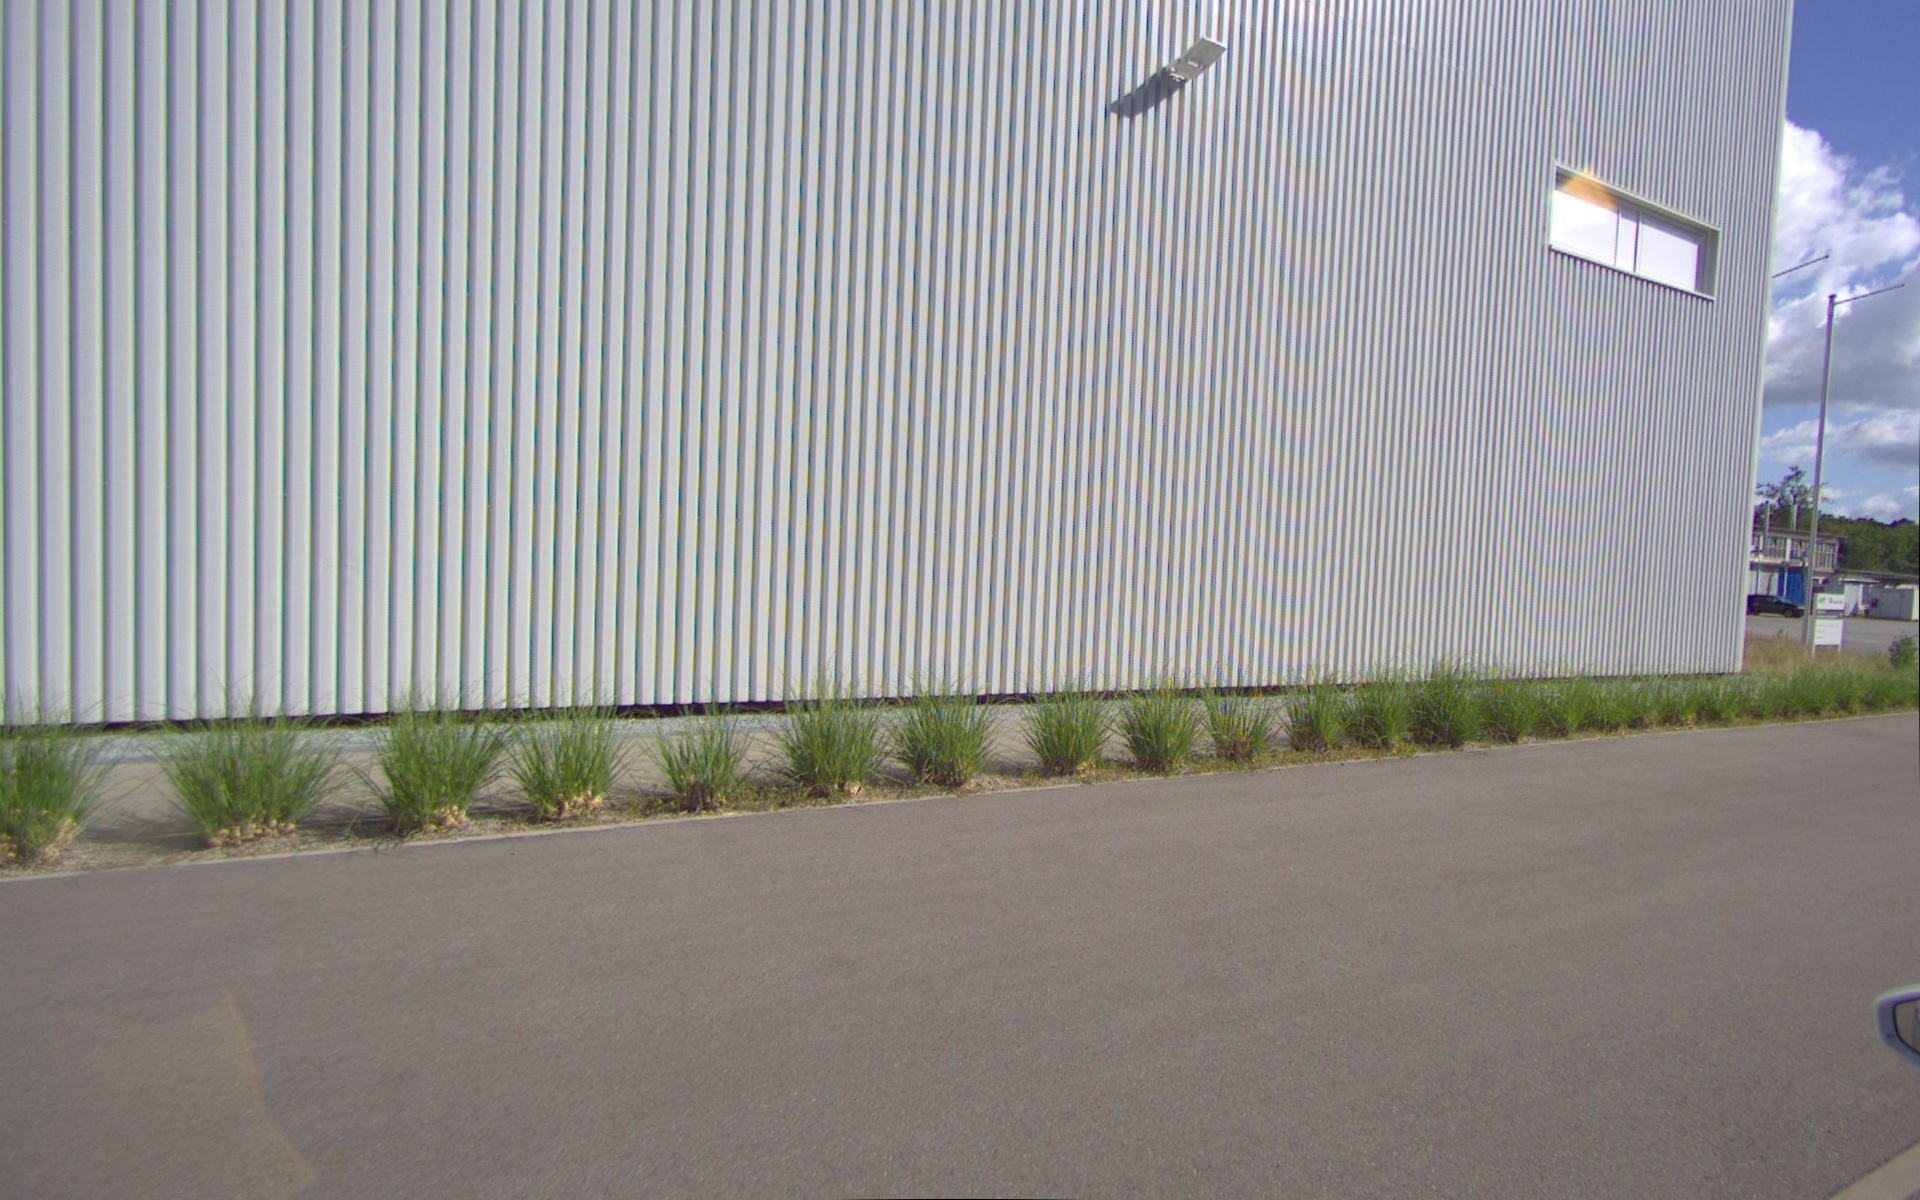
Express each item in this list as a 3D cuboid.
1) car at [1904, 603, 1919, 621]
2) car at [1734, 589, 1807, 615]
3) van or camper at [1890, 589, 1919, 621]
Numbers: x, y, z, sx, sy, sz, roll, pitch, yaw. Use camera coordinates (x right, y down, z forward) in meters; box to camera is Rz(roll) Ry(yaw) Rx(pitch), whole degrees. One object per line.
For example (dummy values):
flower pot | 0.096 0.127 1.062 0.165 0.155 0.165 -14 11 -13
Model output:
car | 91.035 1.200 93.681 1.977 1.632 3.967 1 2 -30
car | 62.272 0.147 77.231 1.979 1.810 3.961 1 2 -34
van or camper | 93.344 0.563 96.194 2.445 2.968 5.684 1 2 -31
